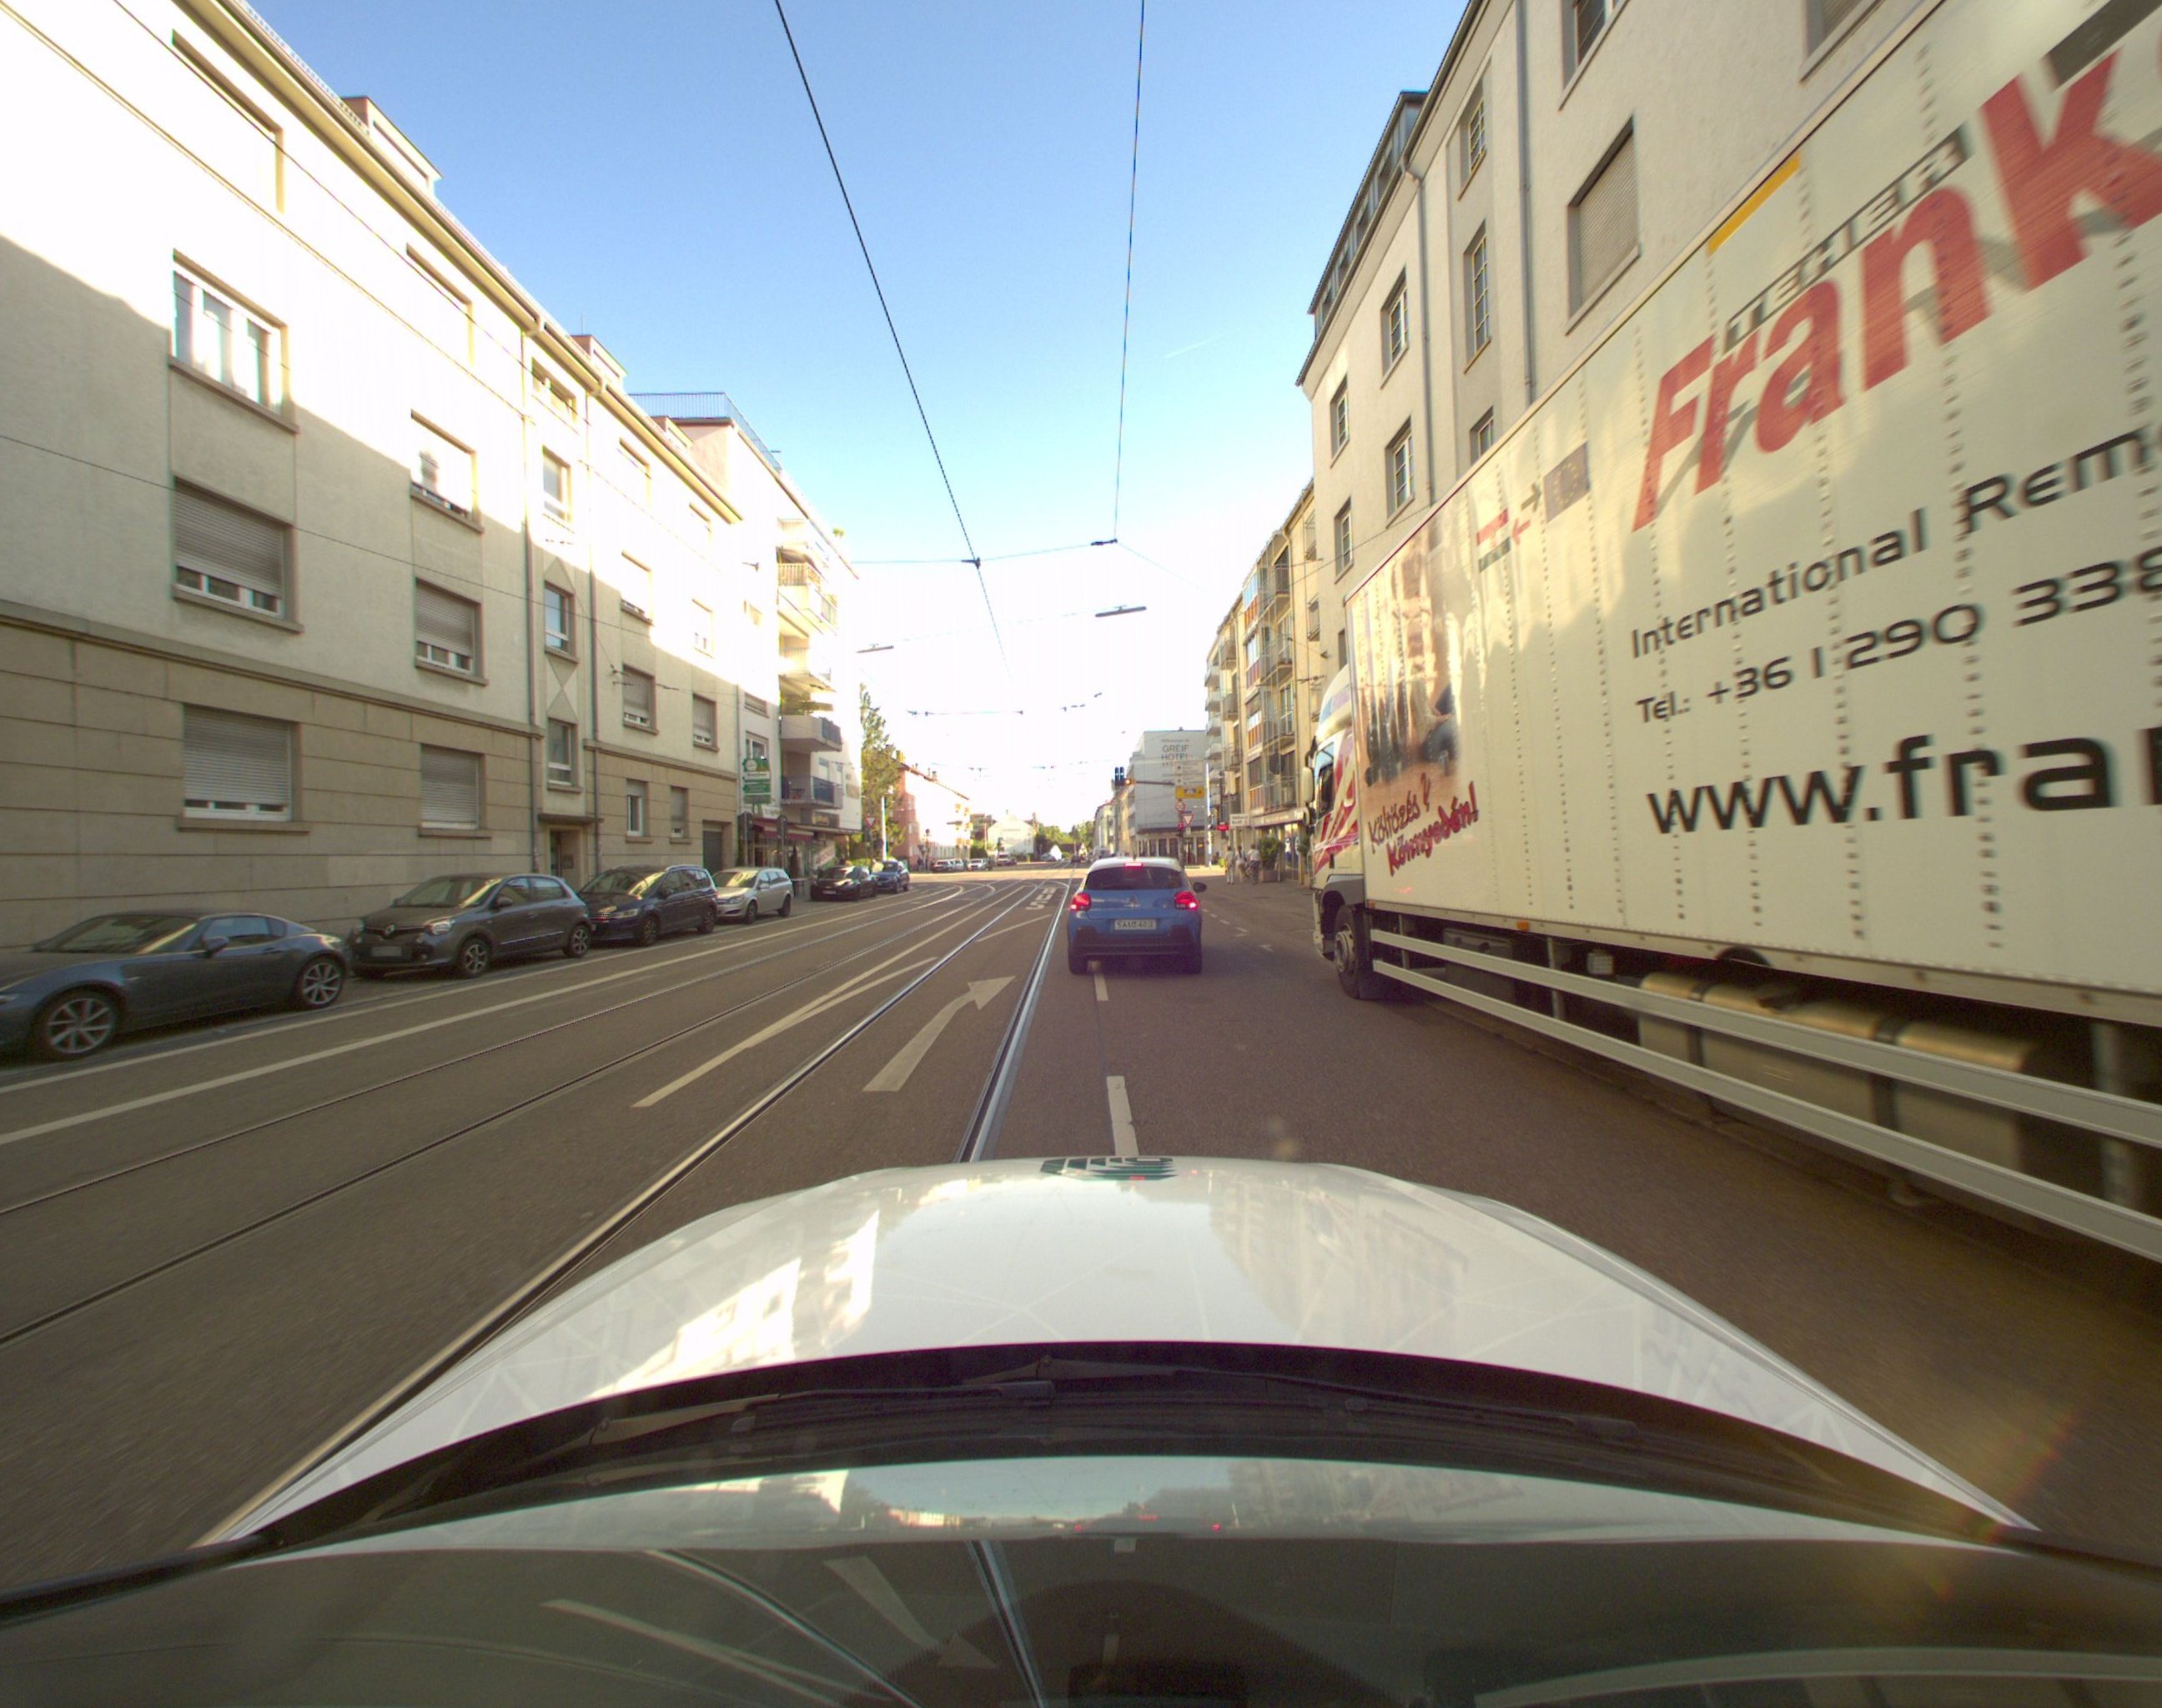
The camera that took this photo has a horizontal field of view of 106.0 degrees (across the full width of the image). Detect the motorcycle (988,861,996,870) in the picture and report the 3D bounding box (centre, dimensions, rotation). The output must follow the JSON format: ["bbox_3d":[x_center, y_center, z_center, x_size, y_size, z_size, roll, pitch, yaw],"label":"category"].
[{"bbox_3d":[-10.022,1.290,91.400,0.613,0.864,1.672,-2,0,3],"label":"motorcycle"}]

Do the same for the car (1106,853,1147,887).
[{"bbox_3d":[2.079,0.677,37.053,1.731,1.420,4.003,-2,0,3],"label":"car"}]

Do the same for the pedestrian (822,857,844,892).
[{"bbox_3d":[-11.386,0.949,37.384,0.694,1.548,0.722,-2,0,3],"label":"pedestrian"}]

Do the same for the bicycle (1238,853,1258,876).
[{"bbox_3d":[8.051,0.512,39.321,0.528,1.072,1.810,-2,0,0],"label":"bicycle"}]

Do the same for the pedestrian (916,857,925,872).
[{"bbox_3d":[-18.119,1.219,92.005,0.839,1.690,0.738,-2,0,5],"label":"pedestrian"}]

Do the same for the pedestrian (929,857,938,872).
[{"bbox_3d":[-17.763,1.261,98.256,0.839,1.690,0.738,-2,0,5],"label":"pedestrian"}]

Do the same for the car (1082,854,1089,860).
[{"bbox_3d":[1.359,1.067,257.112,1.985,1.794,4.003,-2,0,3],"label":"car"}]

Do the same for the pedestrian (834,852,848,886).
[{"bbox_3d":[-14.653,0.902,49.711,0.685,2.013,0.486,-2,0,-3],"label":"pedestrian"}]

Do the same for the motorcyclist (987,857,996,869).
[{"bbox_3d":[-10.030,1.002,91.246,0.716,1.378,0.912,-2,0,3],"label":"motorcyclist"}]

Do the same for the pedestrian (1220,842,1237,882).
[{"bbox_3d":[6.389,0.329,35.281,0.539,1.672,0.624,-4,1,1],"label":"pedestrian"}]

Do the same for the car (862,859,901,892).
[{"bbox_3d":[-9.647,1.029,39.590,1.746,1.509,3.983,0,-1,-13],"label":"car"}]

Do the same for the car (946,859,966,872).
[{"bbox_3d":[-15.871,1.443,103.583,1.905,1.497,3.998,-2,0,-1],"label":"car"}]

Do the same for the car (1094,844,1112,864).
[{"bbox_3d":[2.565,0.007,96.012,1.987,2.325,3.999,-1,0,0],"label":"car"}]

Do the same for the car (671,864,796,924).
[{"bbox_3d":[-9.720,1.059,23.154,1.694,1.509,4.385,0,-1,-1],"label":"car"}]

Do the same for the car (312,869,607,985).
[{"bbox_3d":[-9.764,1.047,13.266,1.693,1.569,4.000,0,-1,0],"label":"car"}]

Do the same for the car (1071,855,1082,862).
[{"bbox_3d":[-0.874,0.807,148.757,1.751,1.259,3.827,-2,0,-4],"label":"car"}]

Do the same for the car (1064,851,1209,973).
[{"bbox_3d":[0.788,0.707,11.824,1.736,1.462,4.004,-1,0,3],"label":"car"}]

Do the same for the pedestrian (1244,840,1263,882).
[{"bbox_3d":[7.054,0.273,33.360,0.539,1.672,0.650,-4,0,1],"label":"pedestrian"}]

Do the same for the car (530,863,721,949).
[{"bbox_3d":[-9.573,1.003,17.578,1.693,1.615,4.243,0,-1,0],"label":"car"}]

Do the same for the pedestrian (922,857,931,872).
[{"bbox_3d":[-18.643,1.274,98.186,0.839,1.690,0.738,-2,0,5],"label":"pedestrian"}]

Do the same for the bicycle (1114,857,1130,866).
[{"bbox_3d":[4.603,0.793,91.877,1.712,0.957,0.702,-2,0,4],"label":"bicycle"}]

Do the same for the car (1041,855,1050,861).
[{"bbox_3d":[-8.470,0.947,193.648,2.015,1.525,3.998,-2,0,-1],"label":"car"}]

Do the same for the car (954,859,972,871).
[{"bbox_3d":[-15.955,1.540,110.380,1.905,1.497,3.998,-2,0,-1],"label":"car"}]

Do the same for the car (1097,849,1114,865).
[{"bbox_3d":[2.740,0.324,91.078,1.727,1.750,3.213,-1,0,0],"label":"car"}]

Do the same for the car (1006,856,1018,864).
[{"bbox_3d":[-14.327,1.307,169.159,2.015,1.525,3.998,-2,0,-1],"label":"car"}]

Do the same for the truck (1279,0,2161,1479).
[{"bbox_3d":[3.835,-0.688,4.229,2.850,4.073,11.781,-2,0,1],"label":"truck"}]

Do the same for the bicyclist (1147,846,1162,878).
[{"bbox_3d":[3.918,0.426,43.551,0.723,1.646,0.790,-2,0,3],"label":"bicyclist"}]

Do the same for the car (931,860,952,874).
[{"bbox_3d":[-15.928,1.445,93.216,1.906,1.433,3.996,-2,0,-2],"label":"car"}]

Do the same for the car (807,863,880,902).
[{"bbox_3d":[-9.728,1.124,33.692,1.693,1.509,4.311,0,-1,0],"label":"car"}]

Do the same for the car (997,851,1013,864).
[{"bbox_3d":[-13.377,0.585,143.616,2.200,2.251,4.675,-2,0,-1],"label":"car"}]

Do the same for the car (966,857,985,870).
[{"bbox_3d":[-13.249,1.208,102.632,1.844,1.574,4.400,-2,0,0],"label":"car"}]

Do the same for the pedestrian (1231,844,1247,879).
[{"bbox_3d":[7.147,0.340,36.772,0.539,1.507,0.611,-4,1,1],"label":"pedestrian"}]

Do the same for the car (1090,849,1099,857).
[{"bbox_3d":[2.648,-0.196,155.107,1.683,1.618,4.000,-1,0,1],"label":"car"}]

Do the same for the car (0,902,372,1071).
[{"bbox_3d":[-9.776,1.203,8.374,1.694,1.216,3.783,0,-1,-1],"label":"car"}]

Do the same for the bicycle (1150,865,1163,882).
[{"bbox_3d":[4.017,1.023,43.361,0.497,0.864,1.749,-2,0,1],"label":"bicycle"}]
